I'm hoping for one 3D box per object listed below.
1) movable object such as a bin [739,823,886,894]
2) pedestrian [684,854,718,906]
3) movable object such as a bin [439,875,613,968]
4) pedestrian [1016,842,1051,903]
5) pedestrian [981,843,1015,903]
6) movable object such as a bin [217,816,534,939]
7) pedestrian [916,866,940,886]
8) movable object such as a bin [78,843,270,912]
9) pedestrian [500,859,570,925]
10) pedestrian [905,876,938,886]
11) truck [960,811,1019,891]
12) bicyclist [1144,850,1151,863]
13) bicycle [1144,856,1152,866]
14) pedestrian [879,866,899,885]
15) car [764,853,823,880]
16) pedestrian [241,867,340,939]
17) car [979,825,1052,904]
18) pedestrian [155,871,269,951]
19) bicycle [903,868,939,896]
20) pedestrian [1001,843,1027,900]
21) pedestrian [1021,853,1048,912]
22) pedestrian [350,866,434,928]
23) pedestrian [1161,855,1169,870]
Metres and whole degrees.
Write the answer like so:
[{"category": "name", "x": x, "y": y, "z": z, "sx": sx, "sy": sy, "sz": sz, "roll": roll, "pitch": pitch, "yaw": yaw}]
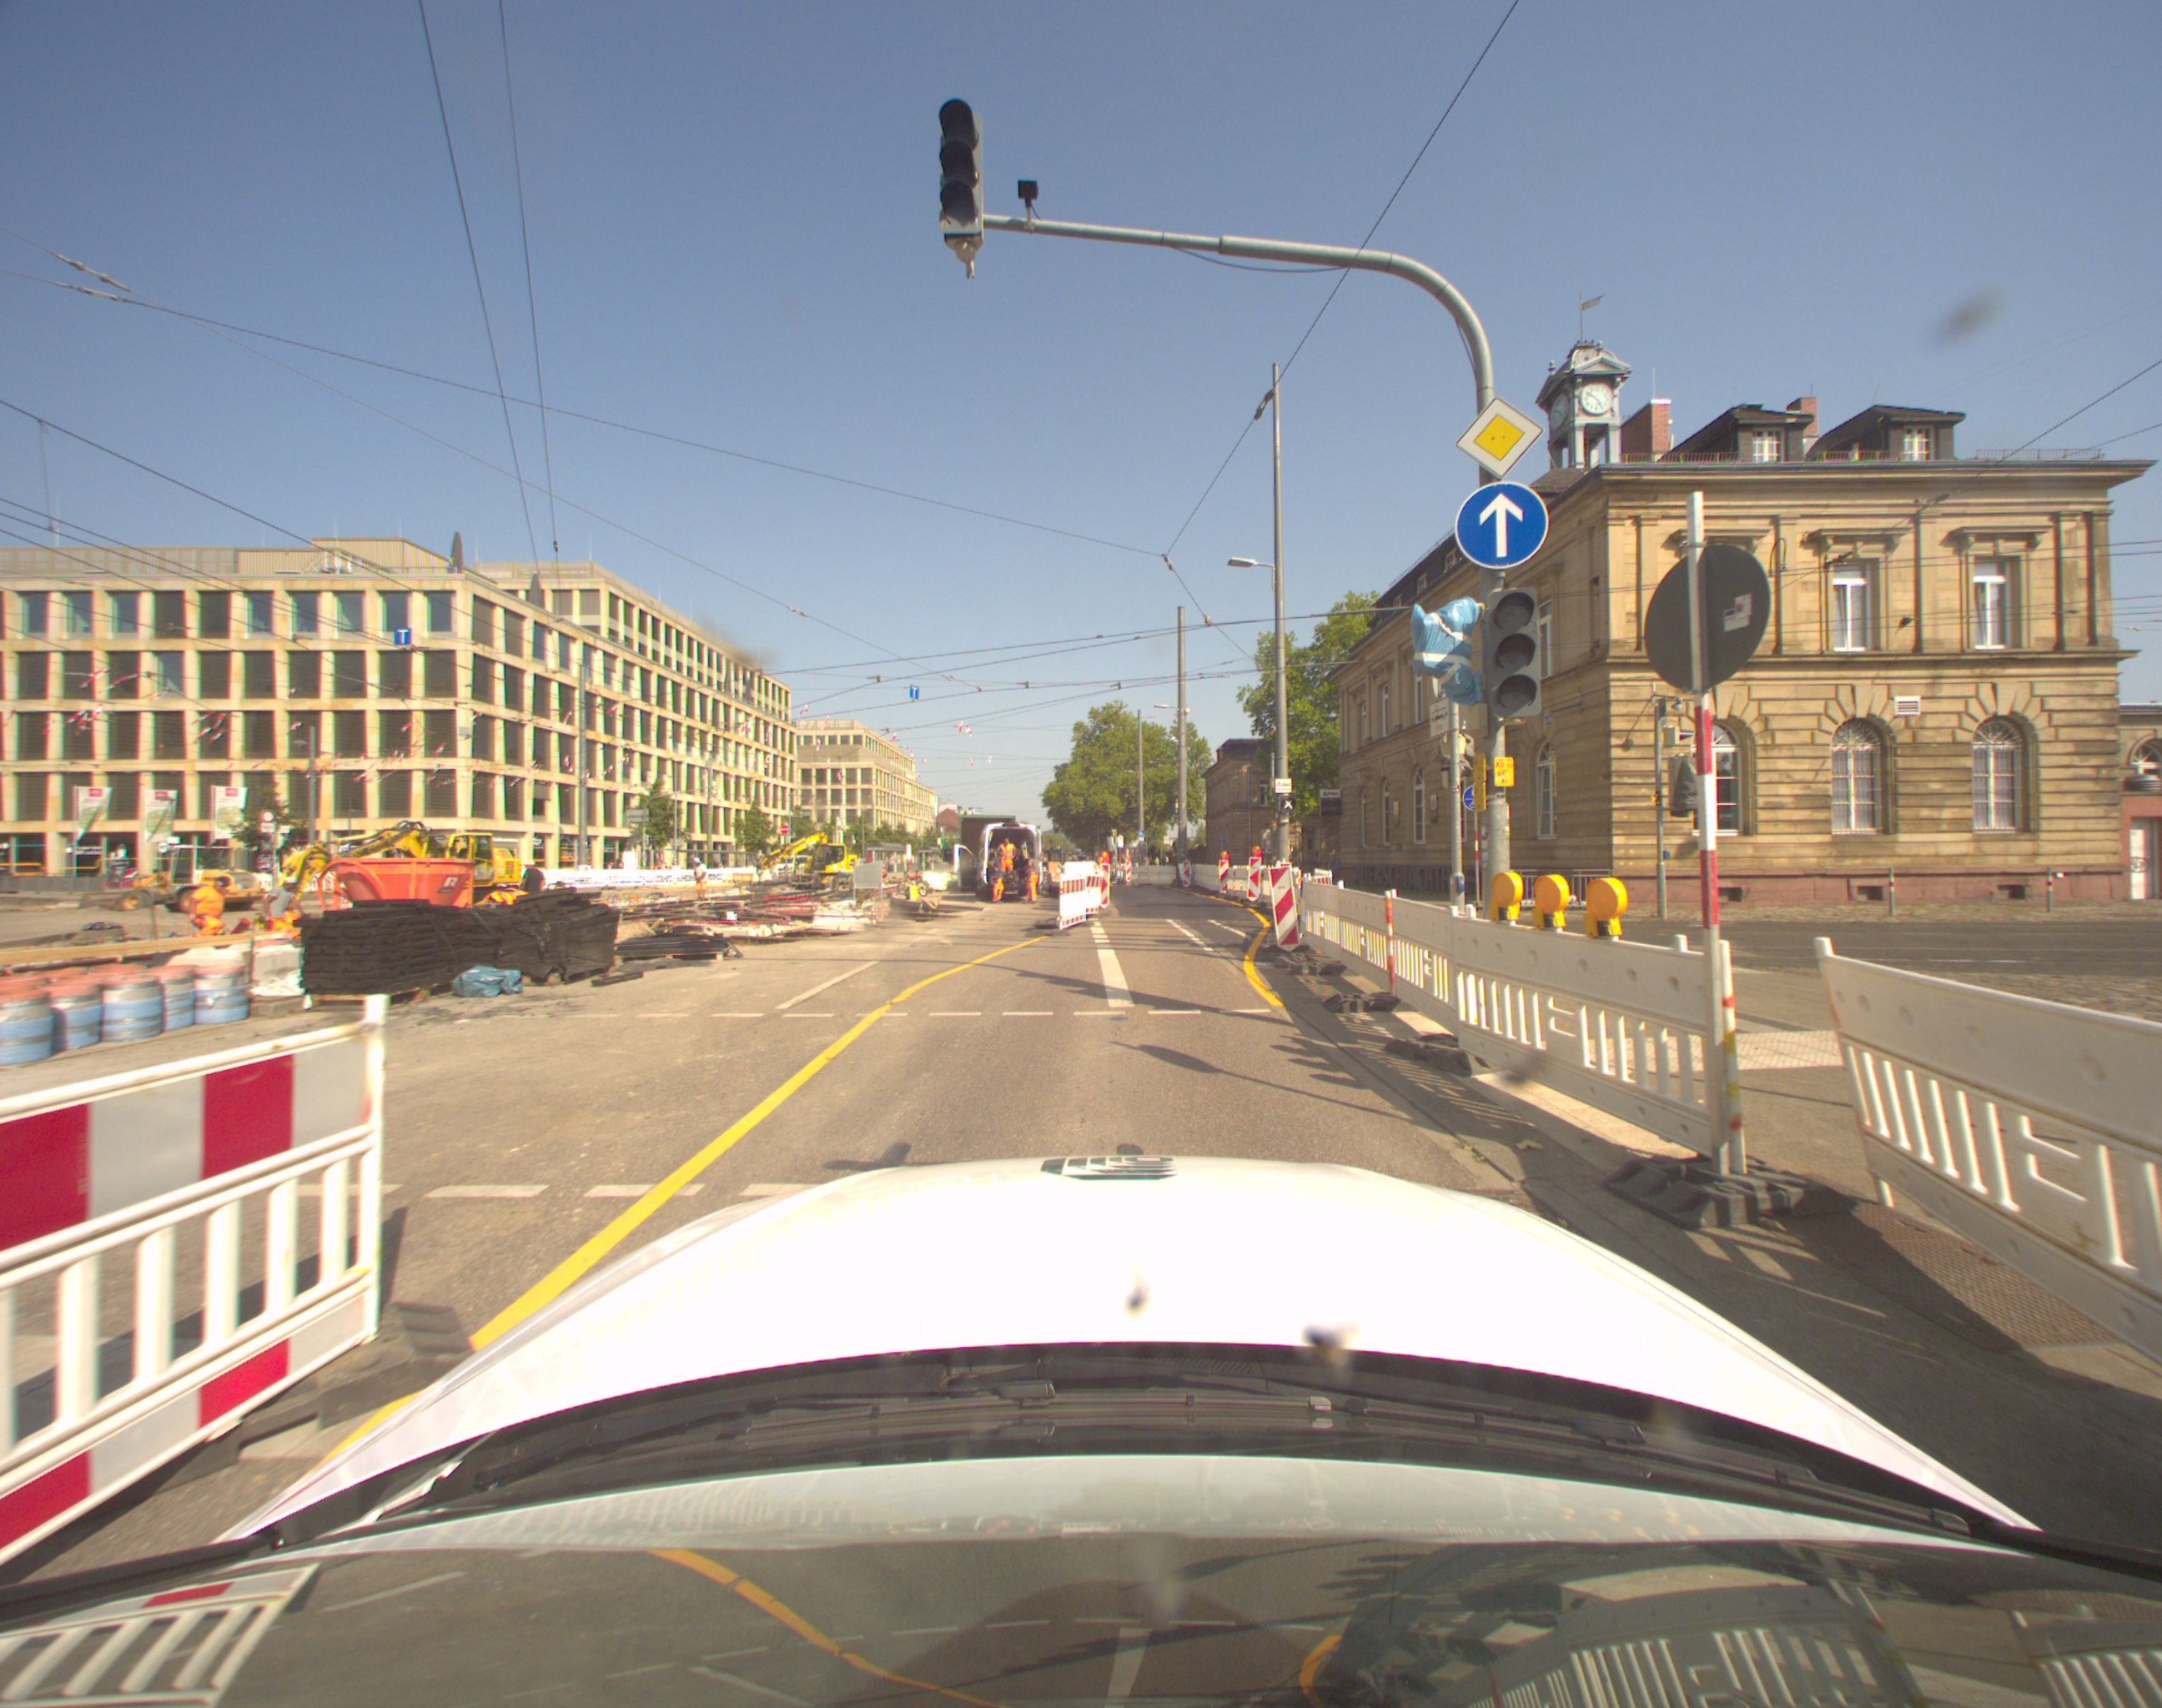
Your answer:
[{"category": "movable object such as a bin", "x": -16.526, "y": 0.251, "z": 51.090, "sx": 3.472, "sy": 4.013, "sz": 9.092, "roll": -1, "pitch": 0, "yaw": 24}, {"category": "pedestrian", "x": -13.868, "y": 0.931, "z": 29.725, "sx": 1.024, "sy": 1.866, "sz": 1.134, "roll": 0, "pitch": -1, "yaw": -31}, {"category": "movable object such as a bin", "x": -7.969, "y": 0.925, "z": 11.858, "sx": 0.746, "sy": 1.170, "sz": 2.295, "roll": -1, "pitch": -1, "yaw": 7}, {"category": "pedestrian", "x": -1.577, "y": 0.608, "z": 27.216, "sx": 0.727, "sy": 2.014, "sz": 0.913, "roll": -2, "pitch": -1, "yaw": 34}, {"category": "pedestrian", "x": -2.825, "y": 0.644, "z": 27.774, "sx": 0.727, "sy": 2.014, "sz": 0.913, "roll": -2, "pitch": -1, "yaw": 32}, {"category": "movable object such as a bin", "x": -22.284, "y": 0.694, "z": 26.637, "sx": 2.835, "sy": 3.330, "sz": 8.350, "roll": -1, "pitch": -1, "yaw": 2}, {"category": "pedestrian", "x": -10.331, "y": 1.472, "z": 55.045, "sx": 1.300, "sy": 1.306, "sz": 0.803, "roll": -1, "pitch": 0, "yaw": 24}, {"category": "movable object such as a bin", "x": -37.964, "y": 0.953, "z": 34.218, "sx": 5.595, "sy": 2.739, "sz": 2.135, "roll": -1, "pitch": -1, "yaw": -1}, {"category": "pedestrian", "x": -13.567, "y": 0.928, "z": 20.257, "sx": 1.131, "sy": 1.589, "sz": 1.026, "roll": -1, "pitch": -1, "yaw": 27}, {"category": "pedestrian", "x": -10.113, "y": 1.716, "z": 51.709, "sx": 1.893, "sy": 0.636, "sz": 0.913, "roll": -1, "pitch": 0, "yaw": 4}, {"category": "truck", "x": -4.832, "y": -0.135, "z": 42.031, "sx": 2.673, "sy": 3.678, "sz": 8.190, "roll": -1, "pitch": 0, "yaw": -8}, {"category": "bicyclist", "x": 7.744, "y": 0.295, "z": 94.480, "sx": 0.715, "sy": 1.543, "sz": 0.955, "roll": -1, "pitch": 0, "yaw": -2}, {"category": "bicycle", "x": 7.758, "y": 0.800, "z": 94.480, "sx": 0.715, "sy": 1.042, "sz": 1.901, "roll": -1, "pitch": 0, "yaw": -2}, {"category": "pedestrian", "x": -13.160, "y": 1.470, "z": 55.834, "sx": 1.010, "sy": 1.306, "sz": 0.983, "roll": -1, "pitch": 0, "yaw": 4}, {"category": "car", "x": -23.281, "y": 0.968, "z": 66.177, "sx": 1.797, "sy": 2.030, "sz": 5.142, "roll": -1, "pitch": 0, "yaw": 17}, {"category": "pedestrian", "x": -16.449, "y": 1.007, "z": 16.968, "sx": 1.138, "sy": 1.442, "sz": 0.918, "roll": -1, "pitch": -1, "yaw": 1}, {"category": "car", "x": -2.603, "y": 0.398, "z": 30.992, "sx": 2.226, "sy": 2.729, "sz": 5.151, "roll": -1, "pitch": -1, "yaw": -11}, {"category": "pedestrian", "x": -16.419, "y": 1.053, "z": 15.418, "sx": 1.138, "sy": 1.442, "sz": 0.918, "roll": -1, "pitch": -1, "yaw": 1}, {"category": "bicycle", "x": -6.632, "y": 1.147, "z": 33.699, "sx": 1.641, "sy": 1.136, "sz": 0.621, "roll": -2, "pitch": -1, "yaw": 43}, {"category": "pedestrian", "x": -2.386, "y": 0.632, "z": 29.234, "sx": 0.730, "sy": 2.014, "sz": 0.909, "roll": -1, "pitch": -1, "yaw": 6}, {"category": "pedestrian", "x": -1.600, "y": 0.977, "z": 28.134, "sx": 0.730, "sy": 2.014, "sz": 0.909, "roll": -1, "pitch": -1, "yaw": 7}, {"category": "pedestrian", "x": -16.529, "y": 1.016, "z": 19.569, "sx": 1.138, "sy": 1.442, "sz": 1.020, "roll": -1, "pitch": -1, "yaw": 1}, {"category": "pedestrian", "x": 9.820, "y": 1.034, "z": 95.279, "sx": 0.816, "sy": 1.686, "sz": 1.012, "roll": -4, "pitch": -1, "yaw": 1}]
